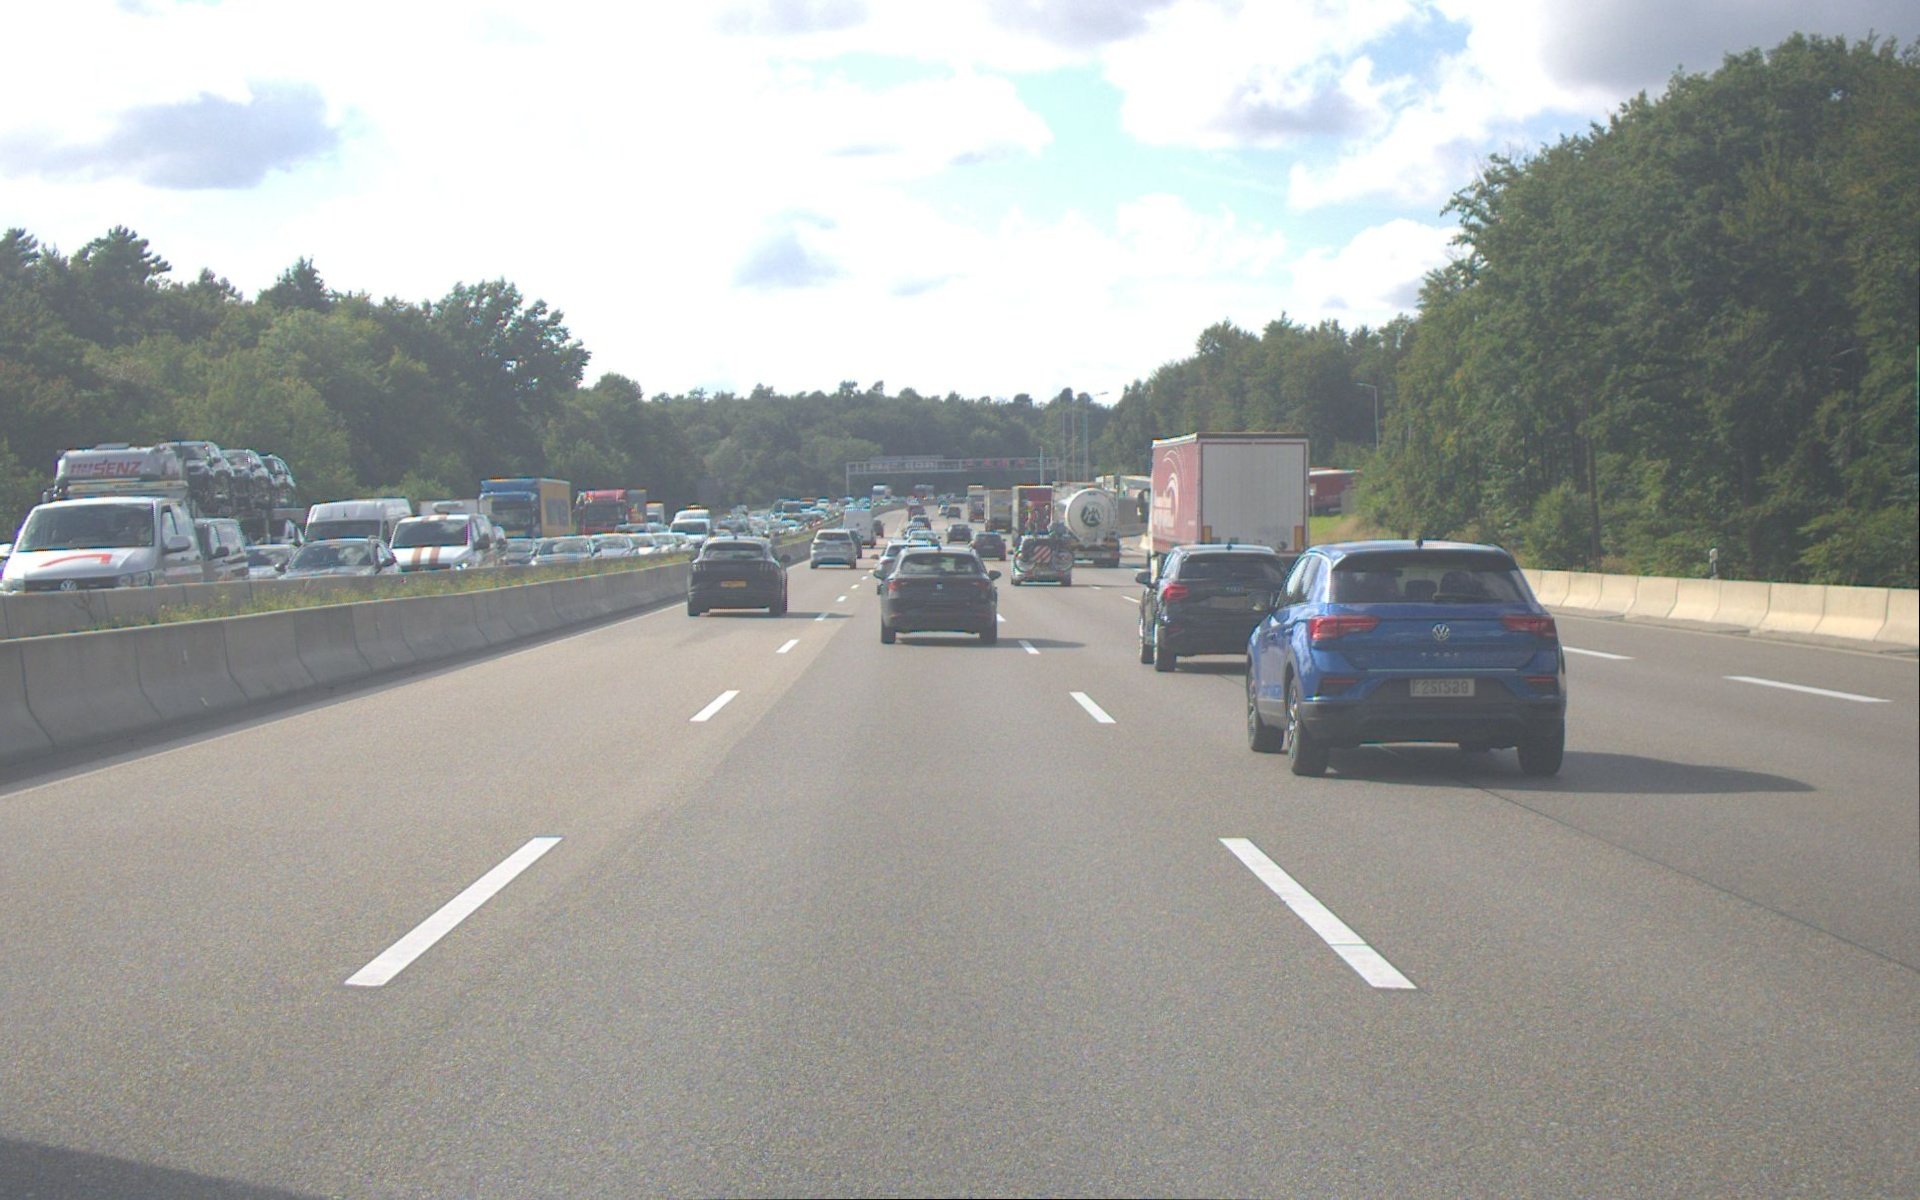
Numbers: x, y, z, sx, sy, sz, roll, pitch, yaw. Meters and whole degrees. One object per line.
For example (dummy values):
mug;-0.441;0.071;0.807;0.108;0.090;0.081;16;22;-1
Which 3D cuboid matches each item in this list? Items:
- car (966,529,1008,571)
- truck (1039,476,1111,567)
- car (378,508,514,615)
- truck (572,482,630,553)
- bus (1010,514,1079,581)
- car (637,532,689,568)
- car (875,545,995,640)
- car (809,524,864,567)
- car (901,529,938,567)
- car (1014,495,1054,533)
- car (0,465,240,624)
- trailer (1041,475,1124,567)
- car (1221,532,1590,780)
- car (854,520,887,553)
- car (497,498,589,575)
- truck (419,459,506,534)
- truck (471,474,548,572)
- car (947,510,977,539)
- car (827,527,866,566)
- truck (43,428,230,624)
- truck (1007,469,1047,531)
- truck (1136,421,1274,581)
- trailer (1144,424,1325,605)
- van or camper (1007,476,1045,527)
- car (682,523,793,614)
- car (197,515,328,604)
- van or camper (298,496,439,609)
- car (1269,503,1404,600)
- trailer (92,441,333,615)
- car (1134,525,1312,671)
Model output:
car;1.355;-2.518;173.008;1.993;2.007;4.000;1;1;-1
truck;5.332;-3.657;160.797;3.045;4.146;7.127;0;1;-1
car;-10.501;-0.764;70.614;1.993;2.093;5.278;1;0;0
truck;-20.481;-4.736;196.197;2.775;3.924;6.854;1;2;-2
bus;2.596;-1.606;106.476;1.993;2.007;4.000;1;0;0
car;-11.402;-1.919;132.004;1.757;1.372;4.000;0;1;-2
car;-0.407;-0.137;52.105;1.734;1.360;4.000;1;1;-1
car;-5.214;-2.321;145.639;2.154;1.770;4.000;1;1;0
car;-2.212;-2.824;187.463;1.993;2.007;4.000;-1;0;-1
car;4.067;-4.715;189.078;1.993;2.007;4.000;1;0;-1
car;-10.119;-0.668;41.357;2.086;1.795;4.179;1;1;-1
trailer;5.442;-3.514;155.247;3.036;4.002;12.246;0;1;-1
car;2.986;0.347;23.985;1.924;1.536;4.645;1;0;0
car;-5.723;-4.052;219.496;1.993;2.007;4.000;1;1;-1
car;-11.350;-1.704;93.816;1.993;2.007;4.410;0;0;0
truck;-19.523;-4.047;135.215;2.328;2.792;7.950;2;1;-1
truck;-19.595;-3.312;149.922;2.735;4.134;5.617;1;0;-2
car;0.130;-5.408;247.318;1.993;2.007;4.000;1;1;-1
car;-5.964;-2.807;181.062;1.993;2.007;4.000;1;1;-1
truck;-18.524;-1.667;77.678;2.853;4.219;5.713;1;1;-1
truck;4.179;-6.232;215.360;2.358;3.560;11.266;1;0;1
truck;6.423;-2.551;91.022;3.080;4.049;6.070;1;0;-1
trailer;6.542;-1.943;84.173;3.038;4.021;13.891;1;0;-1
van or camper;4.250;-6.364;222.409;2.351;3.133;5.710;1;0;1
car;-4.464;-0.651;69.422;1.993;1.770;4.000;1;1;0
car;-14.959;-0.883;73.983;1.911;1.869;4.697;0;1;-1
van or camper;-14.845;-1.161;86.667;2.391;2.702;6.631;1;0;0
car;6.138;-0.798;56.451;1.715;1.506;4.302;-1;1;0
trailer;-18.721;-1.685;87.346;2.830;3.961;16.006;1;0;-1
car;3.125;-0.052;41.546;1.799;1.639;4.000;1;1;0
